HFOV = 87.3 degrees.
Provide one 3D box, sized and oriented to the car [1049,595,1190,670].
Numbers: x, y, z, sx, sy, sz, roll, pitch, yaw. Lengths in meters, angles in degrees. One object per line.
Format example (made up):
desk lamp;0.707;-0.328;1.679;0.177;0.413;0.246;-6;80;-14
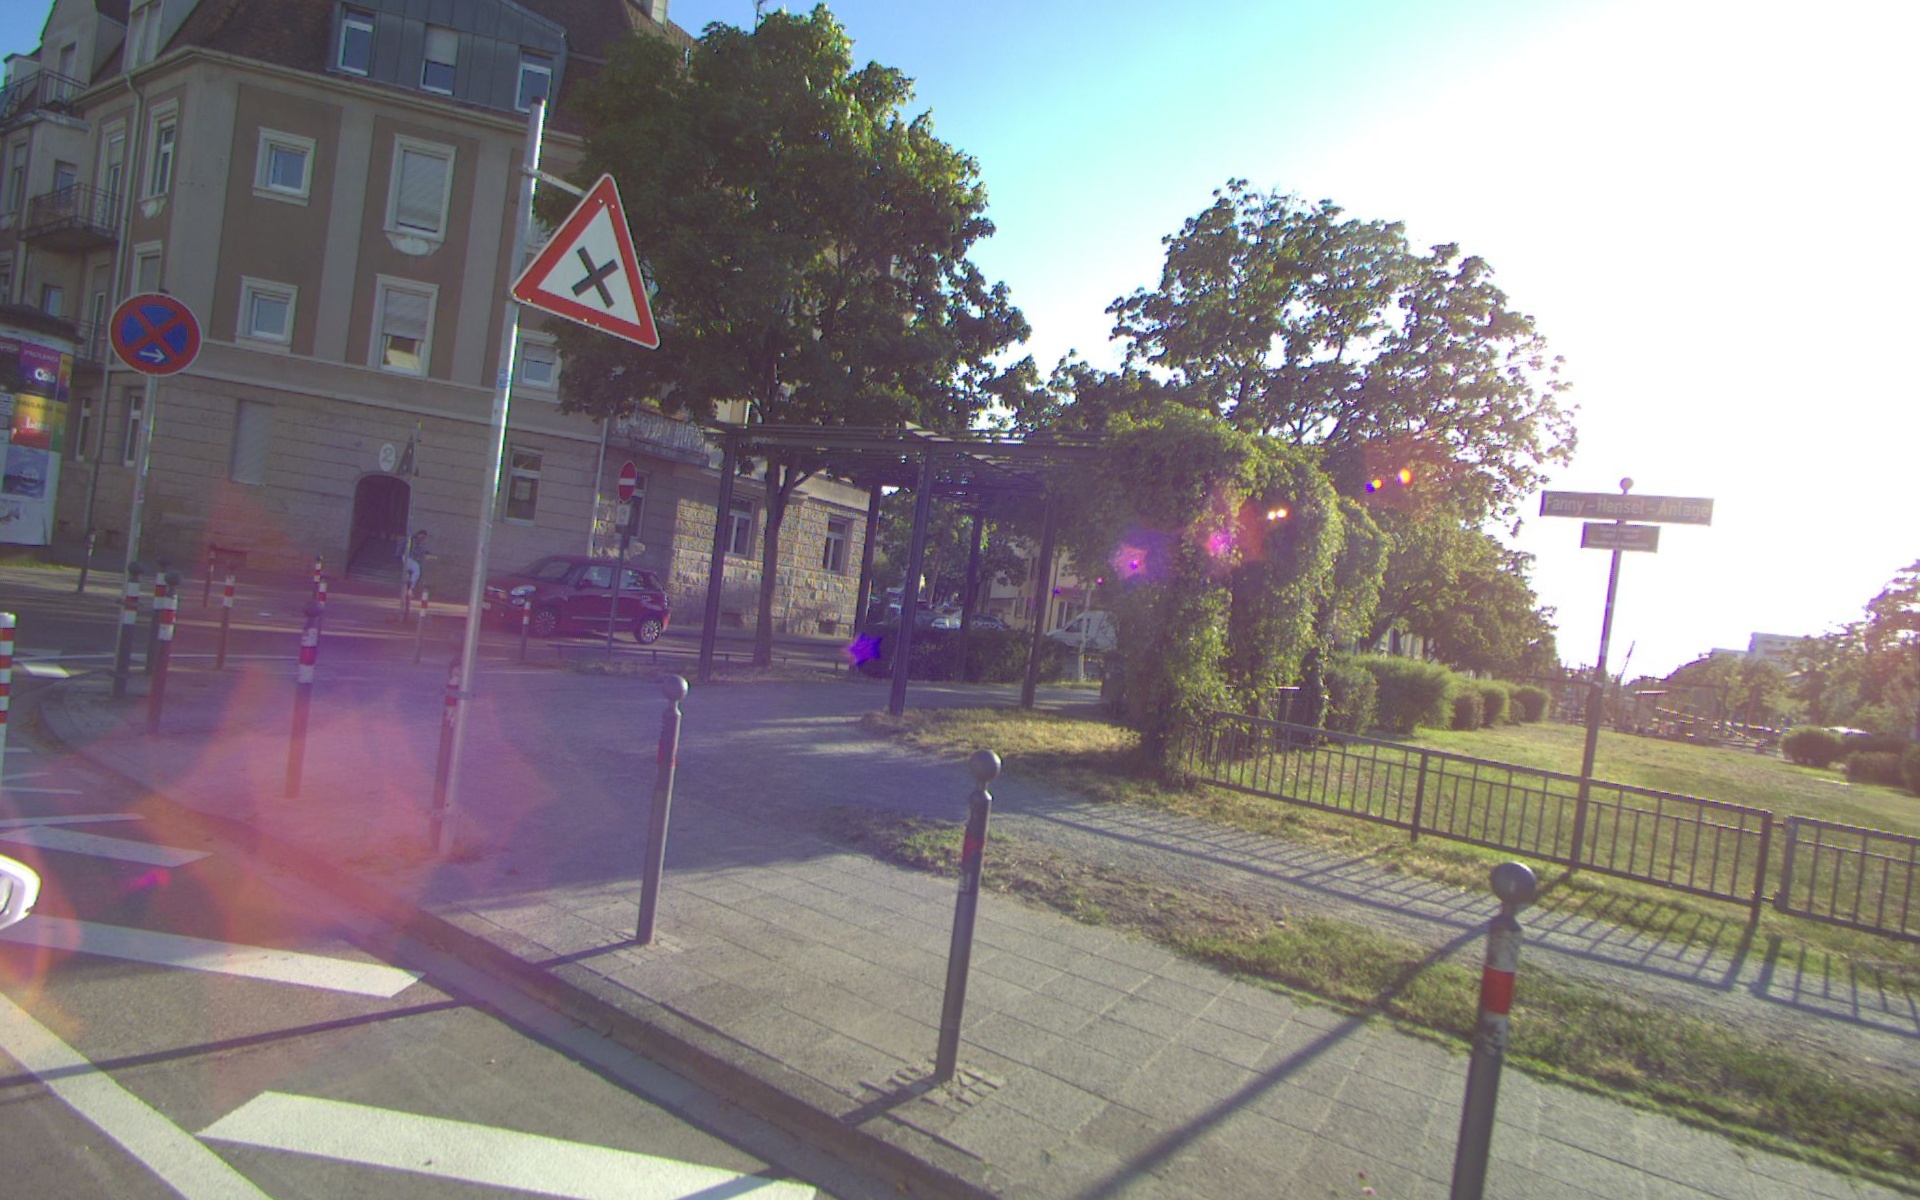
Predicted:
car;7.945;1.639;50.816;6.564;2.778;2.318;8;0;4

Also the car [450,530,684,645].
car;-8.035;-0.194;20.924;1.782;1.762;4.078;11;1;34

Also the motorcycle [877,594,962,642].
motorcycle;-1.631;0.727;40.478;3.171;1.505;0.853;7;0;21

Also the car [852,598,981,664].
car;-1.288;1.014;31.513;1.782;1.552;4.078;9;0;34

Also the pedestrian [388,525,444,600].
pedestrian;-12.473;-0.865;23.064;0.816;1.564;0.732;6;2;-44
